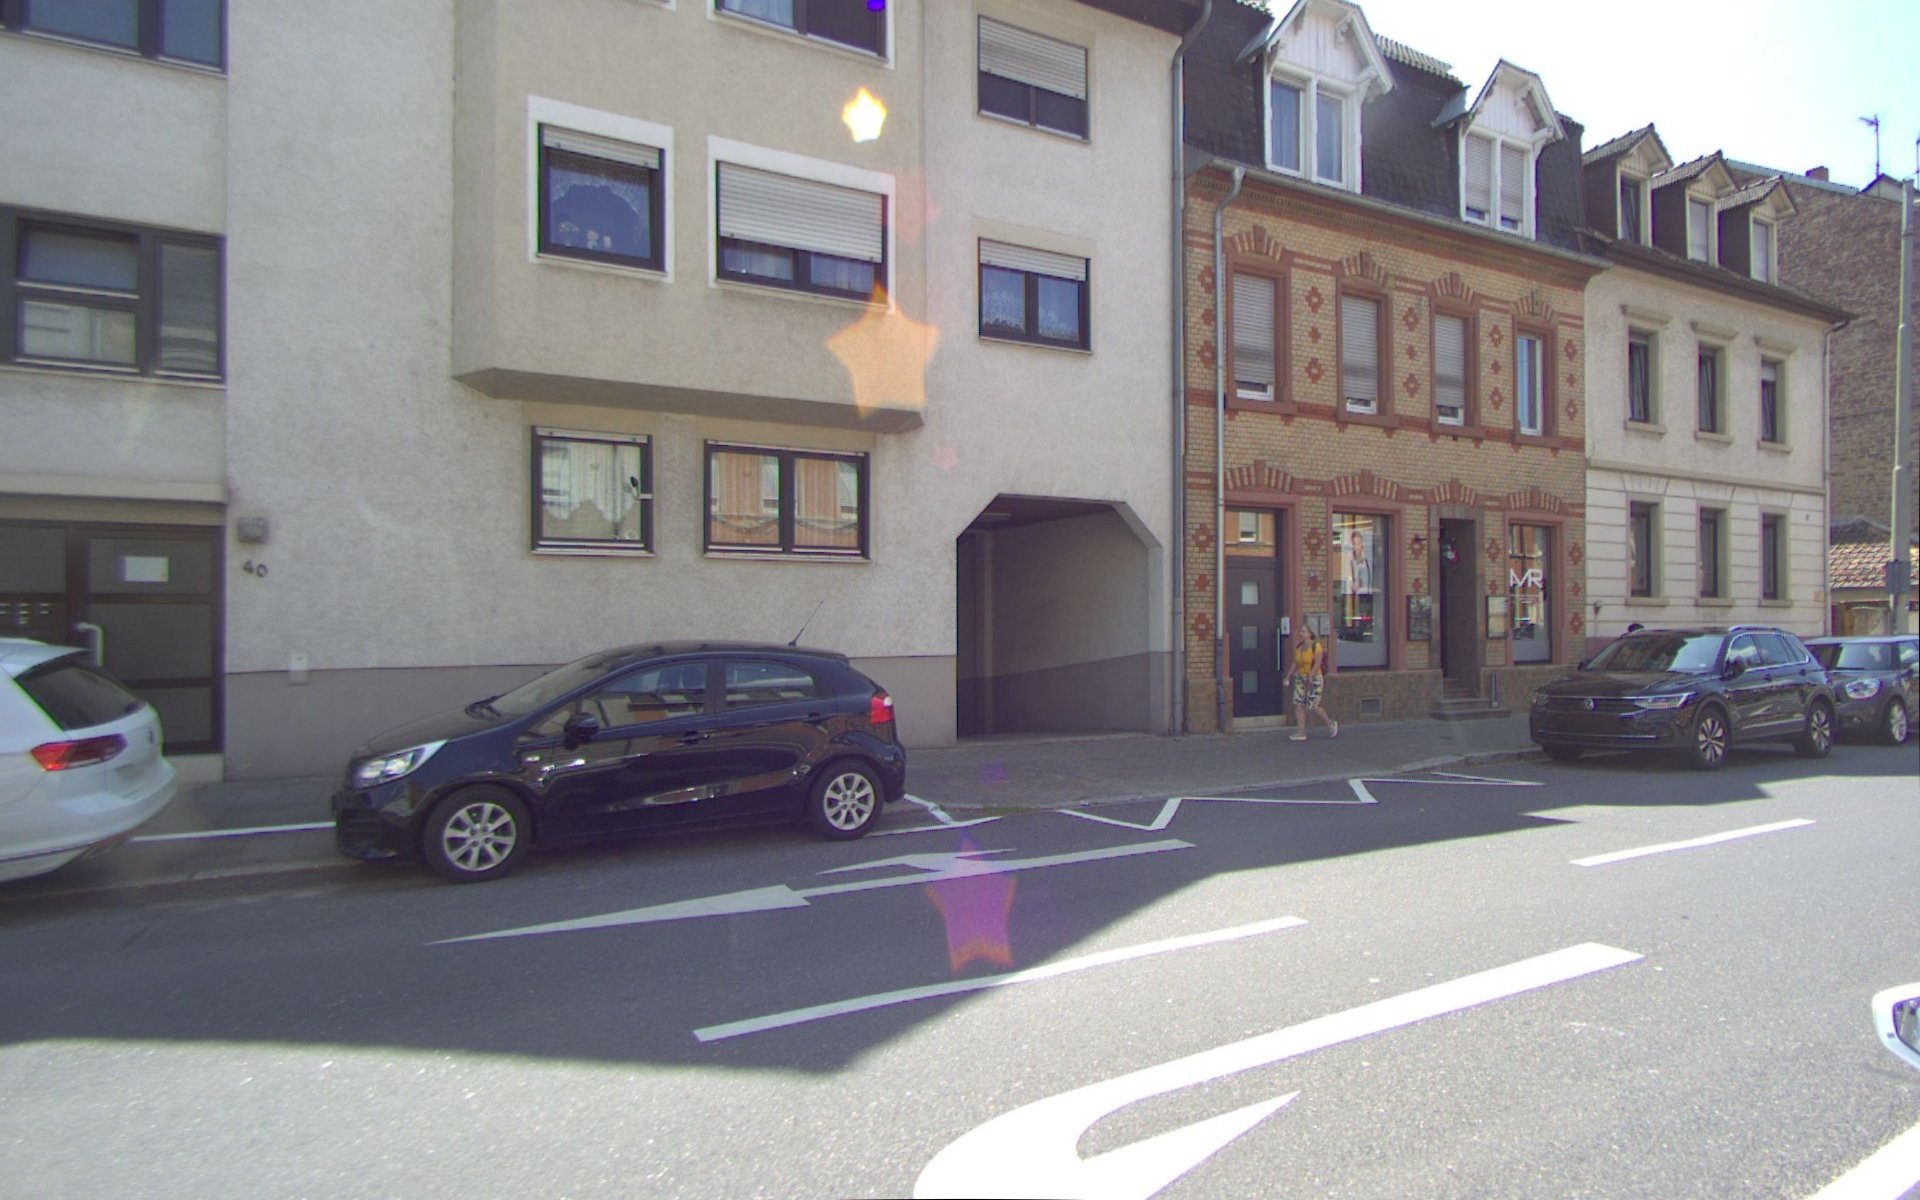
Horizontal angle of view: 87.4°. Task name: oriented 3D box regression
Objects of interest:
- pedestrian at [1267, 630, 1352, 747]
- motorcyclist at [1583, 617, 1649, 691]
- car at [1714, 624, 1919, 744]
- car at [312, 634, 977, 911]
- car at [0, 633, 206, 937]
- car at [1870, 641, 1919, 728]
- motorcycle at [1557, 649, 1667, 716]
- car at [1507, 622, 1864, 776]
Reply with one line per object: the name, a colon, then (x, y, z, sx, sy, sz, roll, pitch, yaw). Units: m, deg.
pedestrian: (4.758, 1.176, 13.693, 0.959, 1.515, 0.606, 1, 0, -28)
motorcyclist: (11.516, 0.940, 17.650, 0.703, 1.264, 0.715, 1, -2, -29)
car: (13.866, 1.257, 15.493, 4.447, 1.617, 1.833, 1, -5, -29)
car: (-2.244, 1.054, 7.684, 4.450, 1.508, 1.830, 1, 0, -31)
car: (-6.806, 0.963, 5.249, 4.334, 1.508, 1.831, 1, 0, -30)
car: (18.075, 1.418, 17.666, 4.451, 1.441, 1.831, 1, -5, -32)
motorcycle: (11.461, 1.424, 17.648, 1.848, 1.092, 0.842, 1, -2, -28)
car: (9.073, 1.146, 12.511, 4.447, 1.617, 1.833, 1, -4, -29)
